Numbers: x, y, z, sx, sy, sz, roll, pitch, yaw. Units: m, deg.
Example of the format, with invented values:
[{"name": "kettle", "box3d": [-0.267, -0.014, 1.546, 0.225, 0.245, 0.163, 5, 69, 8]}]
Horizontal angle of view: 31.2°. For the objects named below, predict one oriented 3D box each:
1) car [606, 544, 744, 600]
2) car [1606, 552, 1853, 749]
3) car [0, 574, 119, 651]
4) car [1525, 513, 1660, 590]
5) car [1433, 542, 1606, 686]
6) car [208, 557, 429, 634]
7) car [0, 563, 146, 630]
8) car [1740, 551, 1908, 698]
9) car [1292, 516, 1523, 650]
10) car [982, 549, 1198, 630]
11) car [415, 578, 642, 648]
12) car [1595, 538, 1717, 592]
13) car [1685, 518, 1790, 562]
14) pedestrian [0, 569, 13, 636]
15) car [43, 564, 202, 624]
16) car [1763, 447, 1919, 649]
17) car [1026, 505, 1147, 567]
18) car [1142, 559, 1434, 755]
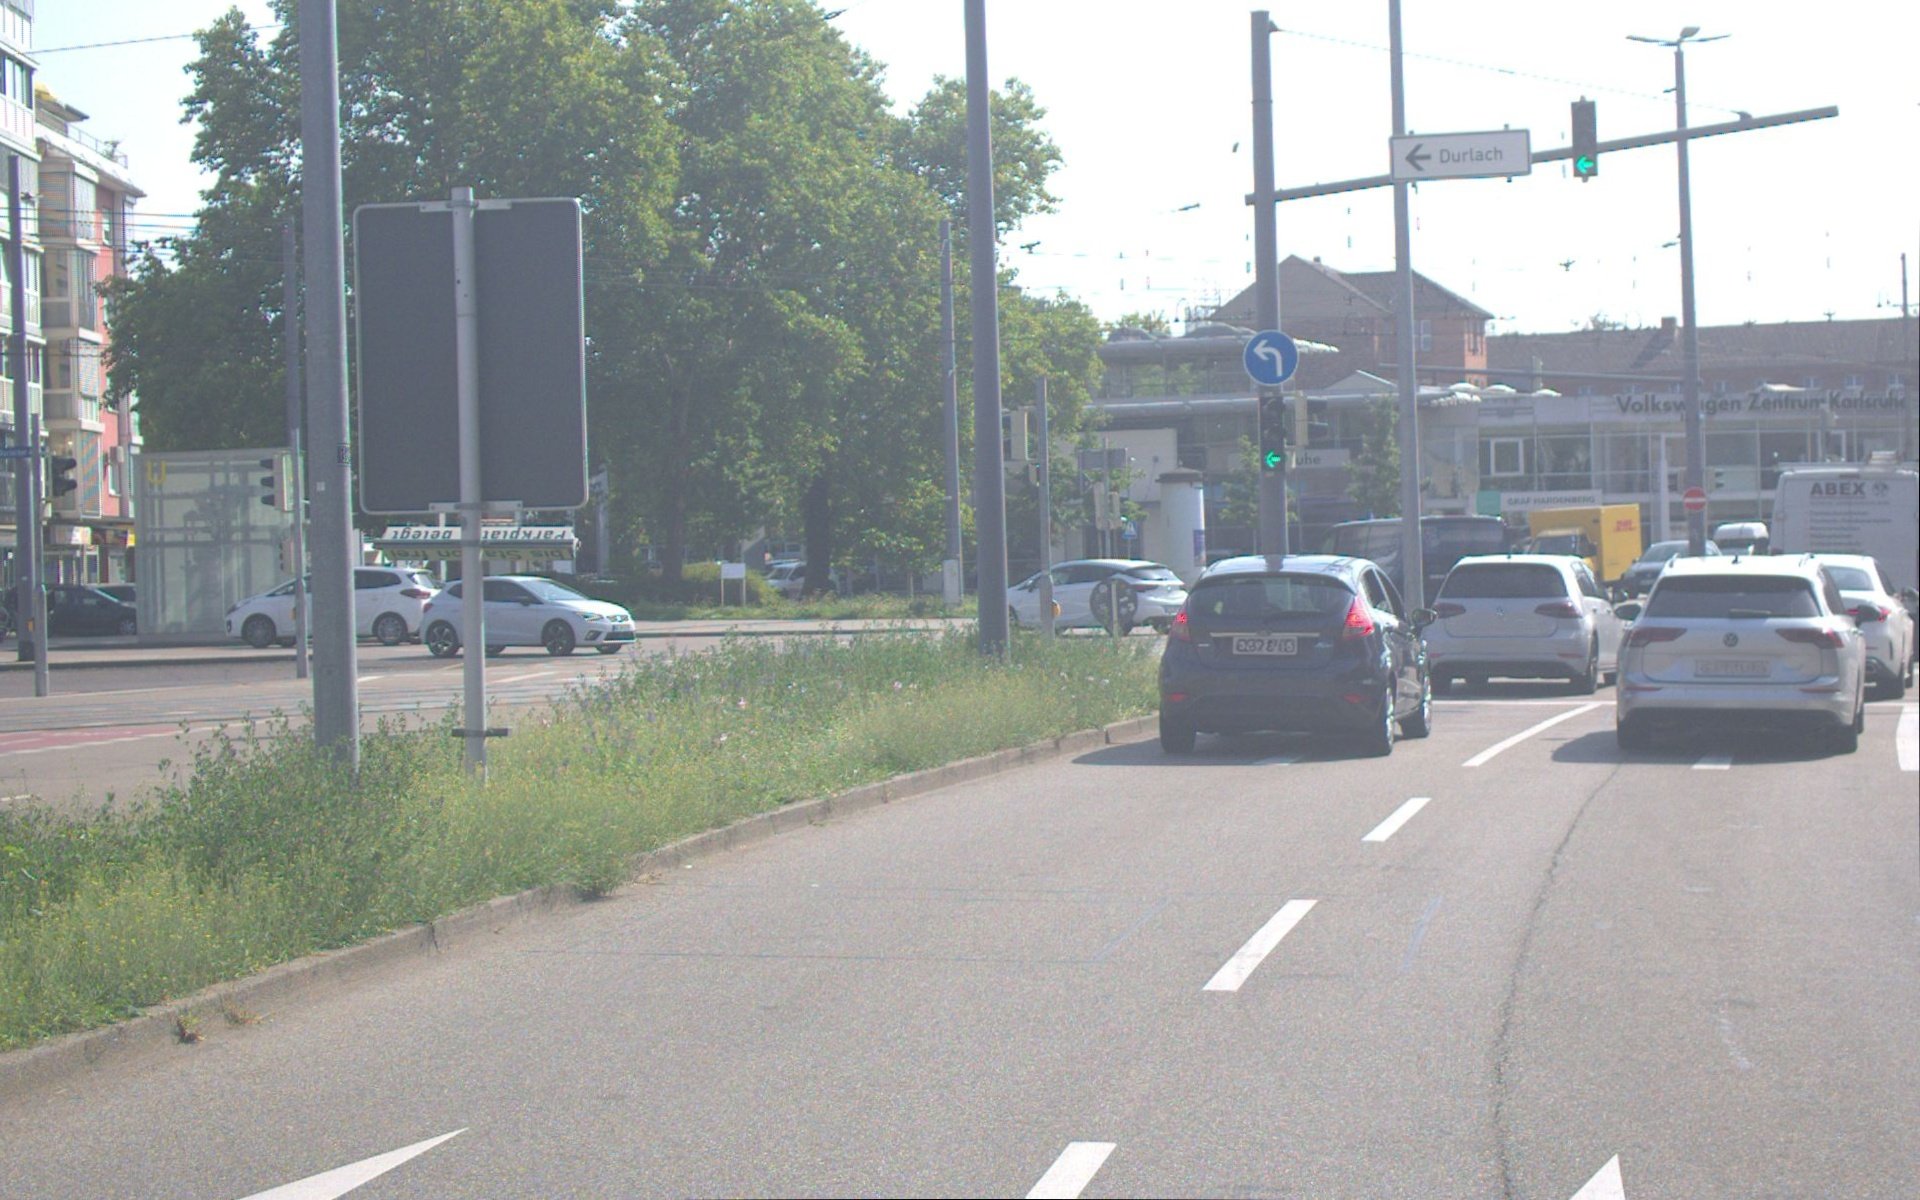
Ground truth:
[{"name": "car", "box3d": [-8.449, -0.842, 102.241, 3.986, 1.552, 1.728, -1, 1, -2]}, {"name": "car", "box3d": [5.797, 0.349, 26.016, 1.686, 1.383, 3.632, -1, 0, 12]}, {"name": "car", "box3d": [-17.989, 0.249, 64.513, 4.037, 1.394, 1.587, -1, 1, -4]}, {"name": "car", "box3d": [17.326, -1.340, 93.953, 1.997, 2.007, 4.656, -1, 1, 32]}, {"name": "car", "box3d": [5.960, 0.115, 36.369, 1.490, 1.410, 3.646, -1, 1, 14]}, {"name": "car", "box3d": [-12.997, -0.091, 69.703, 4.077, 1.497, 1.627, -1, 0, 11]}, {"name": "car", "box3d": [-23.267, -0.096, 88.825, 3.987, 1.552, 1.869, -1, 3, -1]}, {"name": "car", "box3d": [8.714, 0.223, 34.874, 1.489, 1.398, 3.940, -1, 0, 12]}, {"name": "car", "box3d": [7.016, -0.280, 54.430, 2.023, 2.001, 4.685, -1, 1, -14]}, {"name": "car", "box3d": [2.458, -0.219, 65.549, 3.994, 1.369, 1.566, 2, 4, 40]}, {"name": "car", "box3d": [-7.828, 0.237, 62.388, 3.834, 1.176, 1.574, -1, 1, 26]}, {"name": "car", "box3d": [18.283, -0.929, 90.197, 1.898, 1.320, 4.125, -1, 1, 30]}, {"name": "car", "box3d": [23.649, -1.839, 104.496, 1.898, 1.276, 4.125, -1, 1, 31]}, {"name": "pedestrian", "box3d": [-23.491, 0.064, 83.421, 0.850, 1.615, 0.542, -1, 1, -5]}, {"name": "car", "box3d": [-23.363, -0.172, 96.015, 3.986, 1.552, 1.869, -1, 1, -2]}, {"name": "car", "box3d": [11.920, -0.670, 46.015, 2.190, 2.540, 4.680, -1, 0, 14]}, {"name": "car", "box3d": [4.435, -2.244, 120.132, 3.988, 2.006, 2.000, -1, 3, 10]}, {"name": "car", "box3d": [2.561, 0.391, 26.087, 1.702, 1.363, 3.961, -1, 0, 13]}]
